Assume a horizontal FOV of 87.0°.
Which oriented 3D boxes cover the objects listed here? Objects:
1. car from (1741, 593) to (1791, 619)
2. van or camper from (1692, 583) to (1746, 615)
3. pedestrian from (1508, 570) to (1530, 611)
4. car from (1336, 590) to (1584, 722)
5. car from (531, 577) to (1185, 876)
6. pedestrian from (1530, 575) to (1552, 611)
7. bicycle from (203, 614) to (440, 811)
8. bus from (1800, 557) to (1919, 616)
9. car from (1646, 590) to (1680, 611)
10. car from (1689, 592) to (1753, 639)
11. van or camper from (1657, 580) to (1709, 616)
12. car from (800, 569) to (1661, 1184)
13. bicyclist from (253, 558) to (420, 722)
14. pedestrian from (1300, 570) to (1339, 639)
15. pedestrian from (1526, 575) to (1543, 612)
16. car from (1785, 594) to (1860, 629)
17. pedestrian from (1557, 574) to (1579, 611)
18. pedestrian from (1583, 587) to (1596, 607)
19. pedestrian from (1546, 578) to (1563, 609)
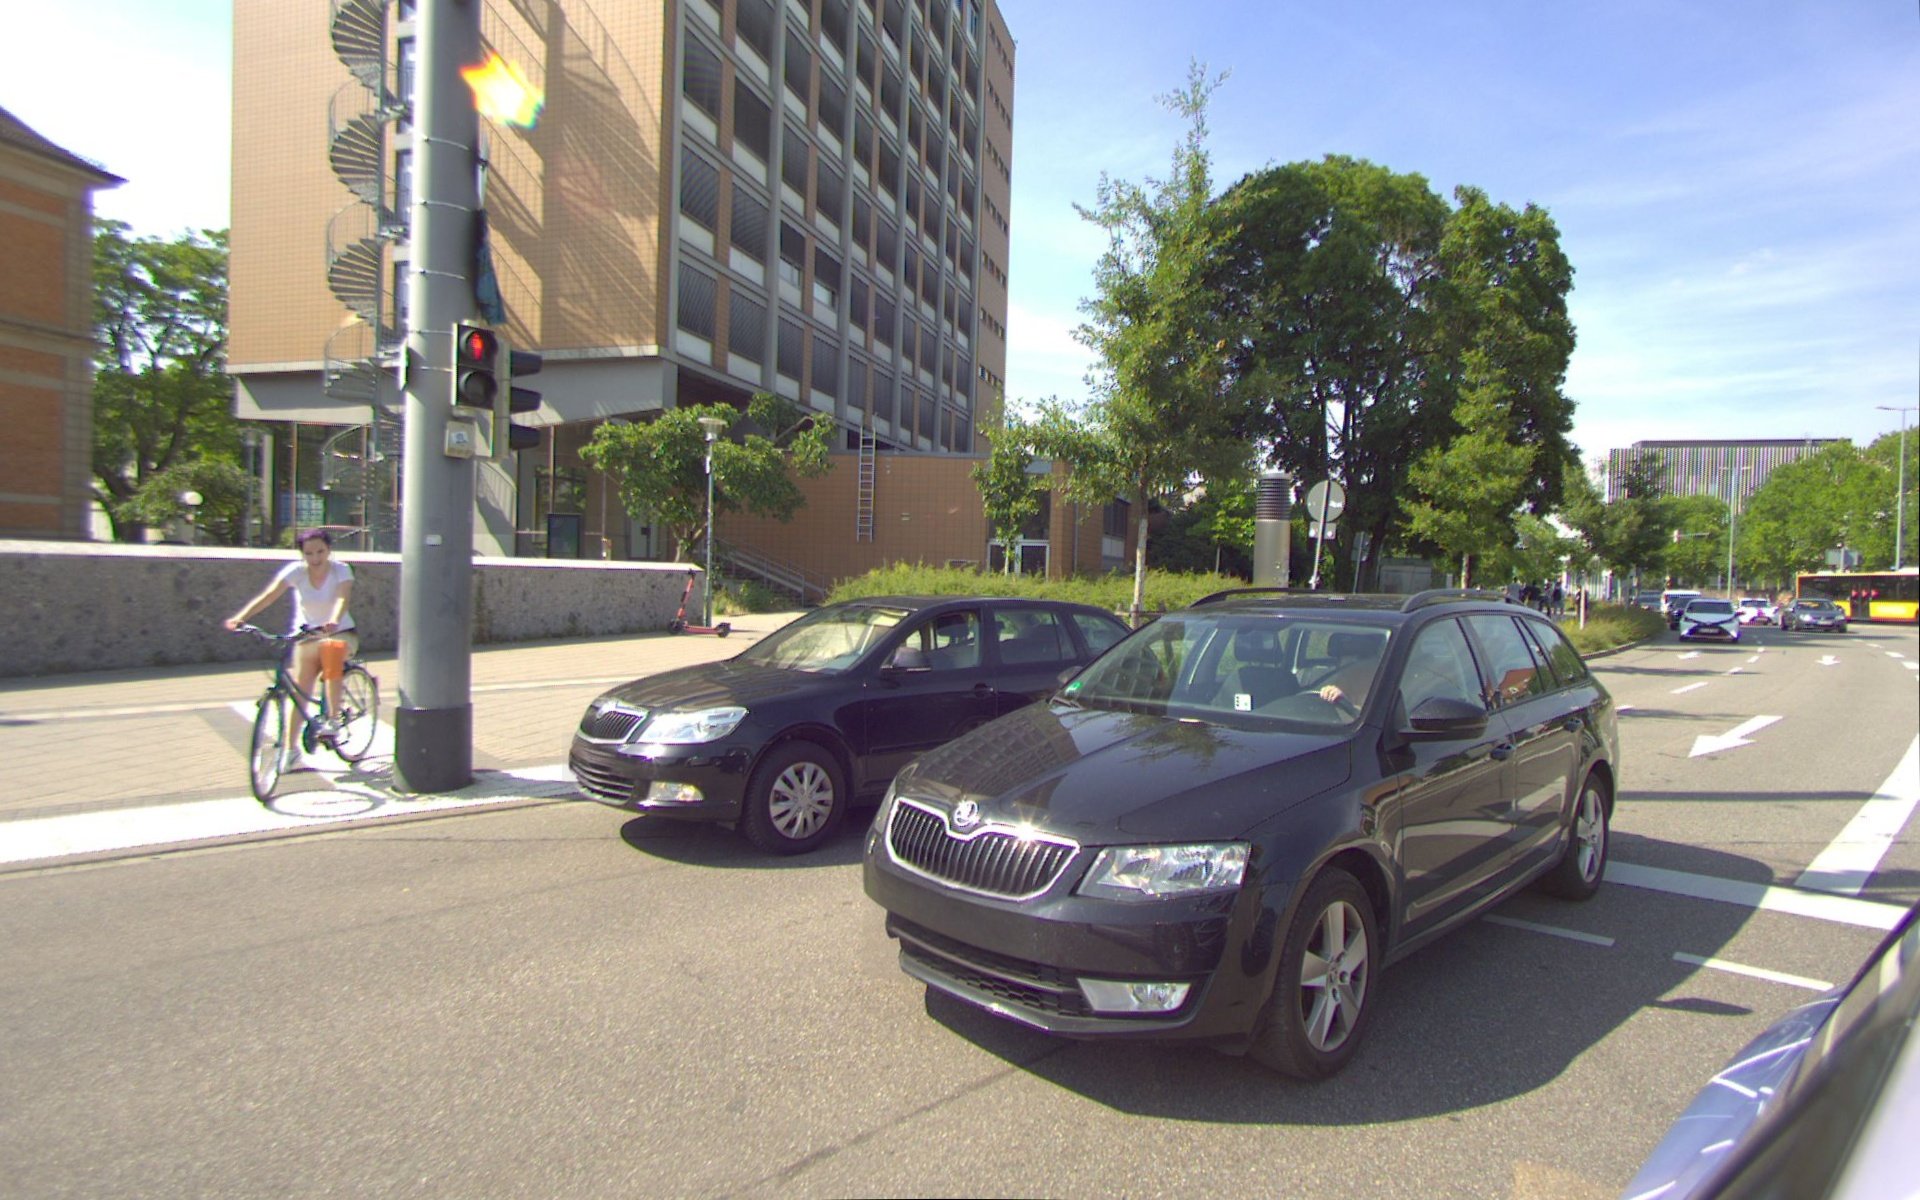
[{"bbox_3d":[42.548,0.287,53.471,1.477,1.310,3.451,1,1,28],"label":"car"},{"bbox_3d":[48.817,-0.116,65.159,1.902,1.911,4.876,2,1,27],"label":"van or camper"},{"bbox_3d":[26.345,-0.459,47.685,0.719,1.860,0.643,0,3,-43],"label":"pedestrian"},{"bbox_3d":[6.832,0.614,13.596,4.455,1.453,1.632,-1,1,-45],"label":"car"},{"bbox_3d":[-0.447,0.601,6.978,4.322,1.447,1.703,0,1,-42],"label":"car"},{"bbox_3d":[26.925,-0.333,46.898,0.719,1.646,0.643,0,3,-43],"label":"pedestrian"},{"bbox_3d":[-4.346,0.700,7.069,0.702,1.027,1.923,2,3,-9],"label":"bicycle"},{"bbox_3d":[51.666,-0.694,54.952,2.747,3.076,12.134,1,1,5],"label":"bus"},{"bbox_3d":[47.425,0.038,68.295,1.478,1.310,3.451,2,2,29],"label":"car"},{"bbox_3d":[25.910,0.500,34.537,1.672,1.493,3.711,0,0,36],"label":"car"},{"bbox_3d":[40.070,-0.148,56.174,1.714,1.911,4.873,0,0,28],"label":"van or camper"},{"bbox_3d":[1.679,0.613,4.621,4.701,1.453,1.632,-1,1,-44],"label":"car"},{"bbox_3d":[-4.345,0.252,7.114,0.702,1.041,0.918,2,3,-9],"label":"bicyclist"},{"bbox_3d":[9.008,0.107,25.345,0.719,1.684,0.592,0,3,-43],"label":"pedestrian"},{"bbox_3d":[28.544,-0.335,50.297,0.637,1.785,0.471,3,3,26],"label":"pedestrian"},{"bbox_3d":[37.600,0.470,44.204,1.637,1.442,4.079,-1,0,29],"label":"car"},{"bbox_3d":[28.023,-0.348,46.655,0.739,1.694,0.643,0,3,-43],"label":"pedestrian"},{"bbox_3d":[38.117,-0.166,61.292,0.639,1.145,0.744,3,3,31],"label":"pedestrian"},{"bbox_3d":[29.323,-0.326,49.930,0.637,1.464,0.564,3,3,26],"label":"pedestrian"}]
